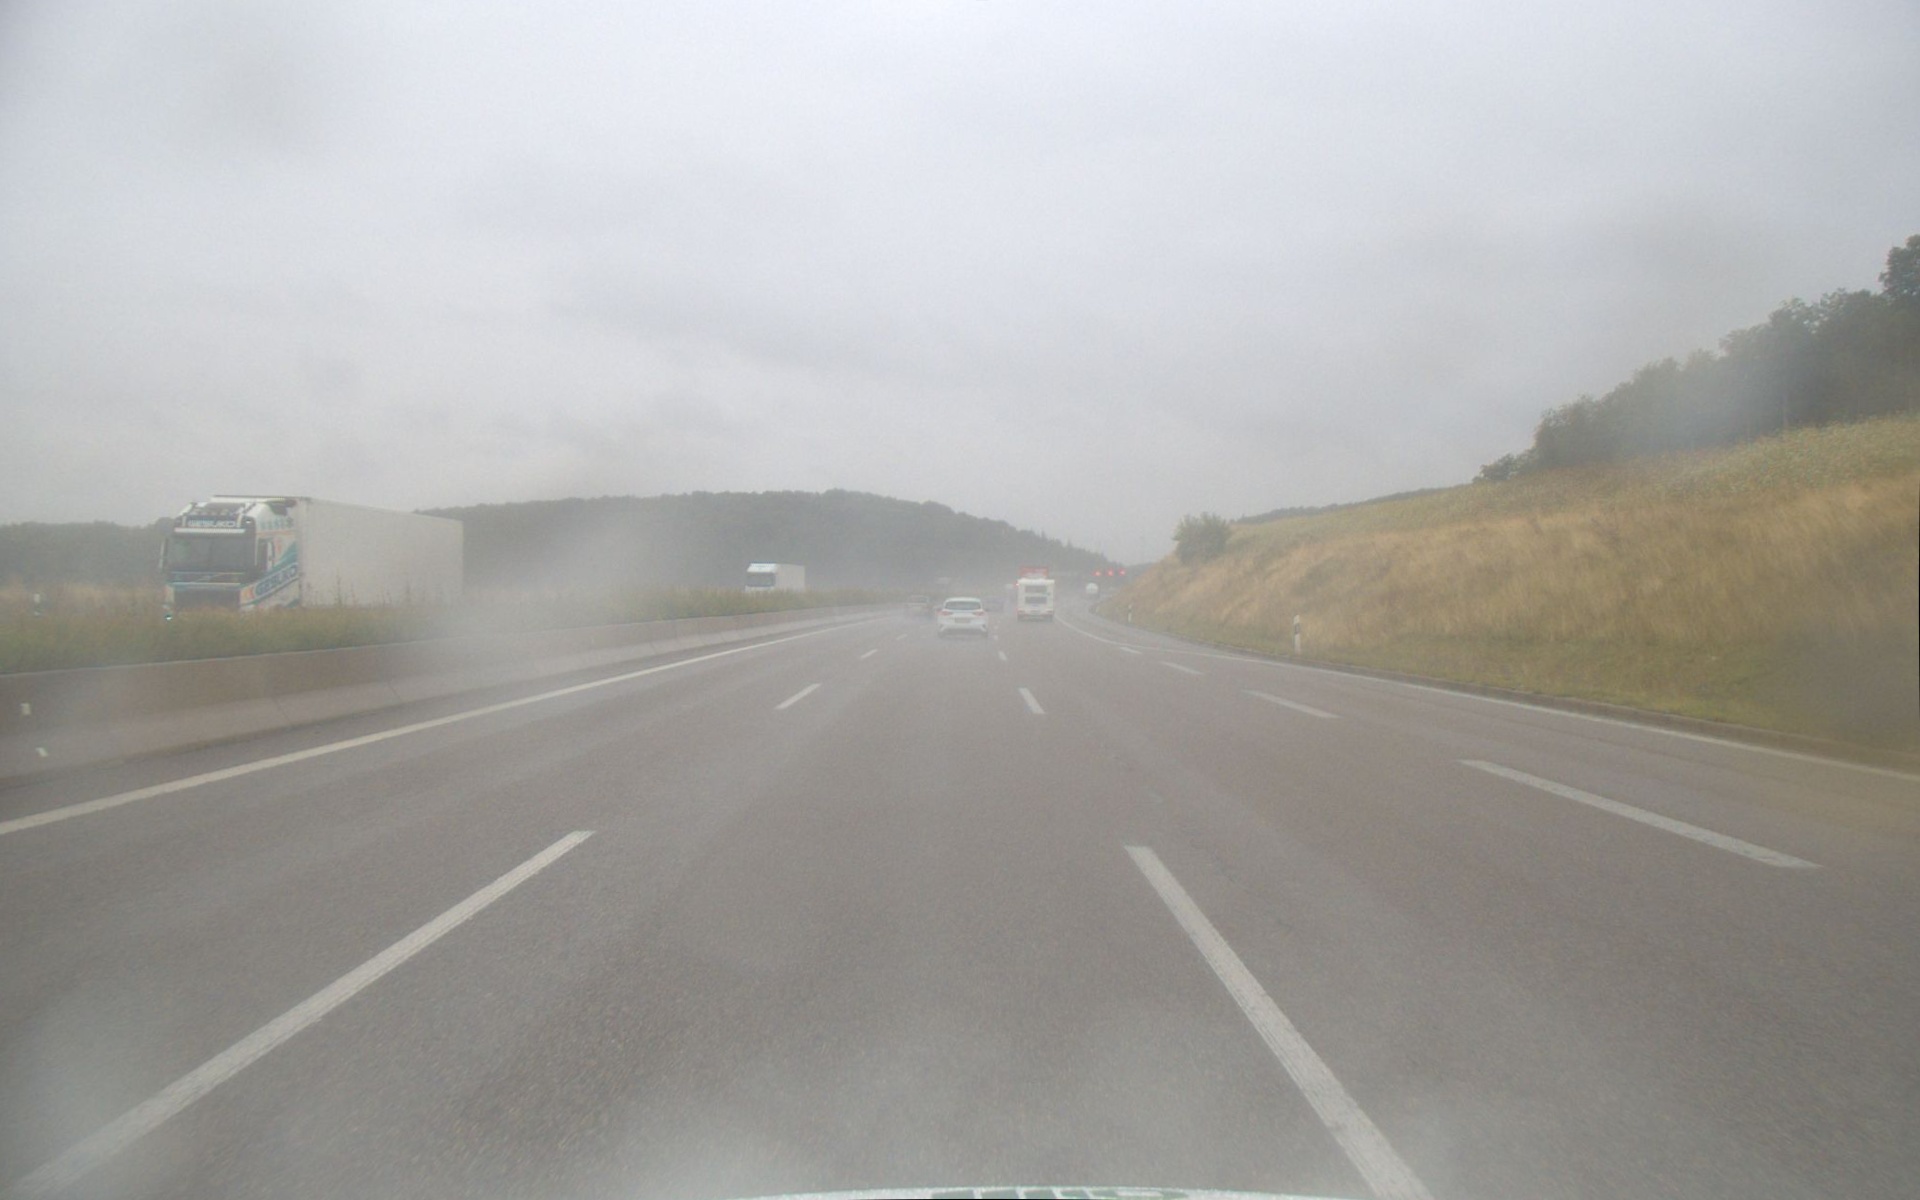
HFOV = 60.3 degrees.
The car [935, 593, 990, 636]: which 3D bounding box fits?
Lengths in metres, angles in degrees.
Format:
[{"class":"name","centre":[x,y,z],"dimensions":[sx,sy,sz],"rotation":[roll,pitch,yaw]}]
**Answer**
[{"class":"car","centre":[0.058,0.519,58.588],"dimensions":[1.830,1.488,3.998],"rotation":[0,-1,-2]}]

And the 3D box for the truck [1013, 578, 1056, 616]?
[{"class":"truck","centre":[4.548,-0.185,101.445],"dimensions":[2.359,2.292,4.692],"rotation":[0,0,-1]}]

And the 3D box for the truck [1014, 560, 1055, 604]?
[{"class":"truck","centre":[6.663,-1.691,149.587],"dimensions":[3.454,3.808,11.428],"rotation":[1,1,1]}]

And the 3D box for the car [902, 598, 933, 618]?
[{"class":"car","centre":[-2.566,0.501,99.878],"dimensions":[1.787,1.177,4.210],"rotation":[1,-1,-3]}]

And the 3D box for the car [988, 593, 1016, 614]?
[{"class":"car","centre":[3.281,0.262,129.304],"dimensions":[1.953,1.646,3.998],"rotation":[0,0,-2]}]

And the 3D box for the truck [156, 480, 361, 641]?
[{"class":"truck","centre":[-18.955,-1.015,45.123],"dimensions":[2.892,4.063,6.217],"rotation":[0,0,0]}]

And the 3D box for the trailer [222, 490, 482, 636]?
[{"class":"trailer","centre":[-18.898,-1.048,52.926],"dimensions":[2.884,4.052,14.306],"rotation":[0,0,1]}]
